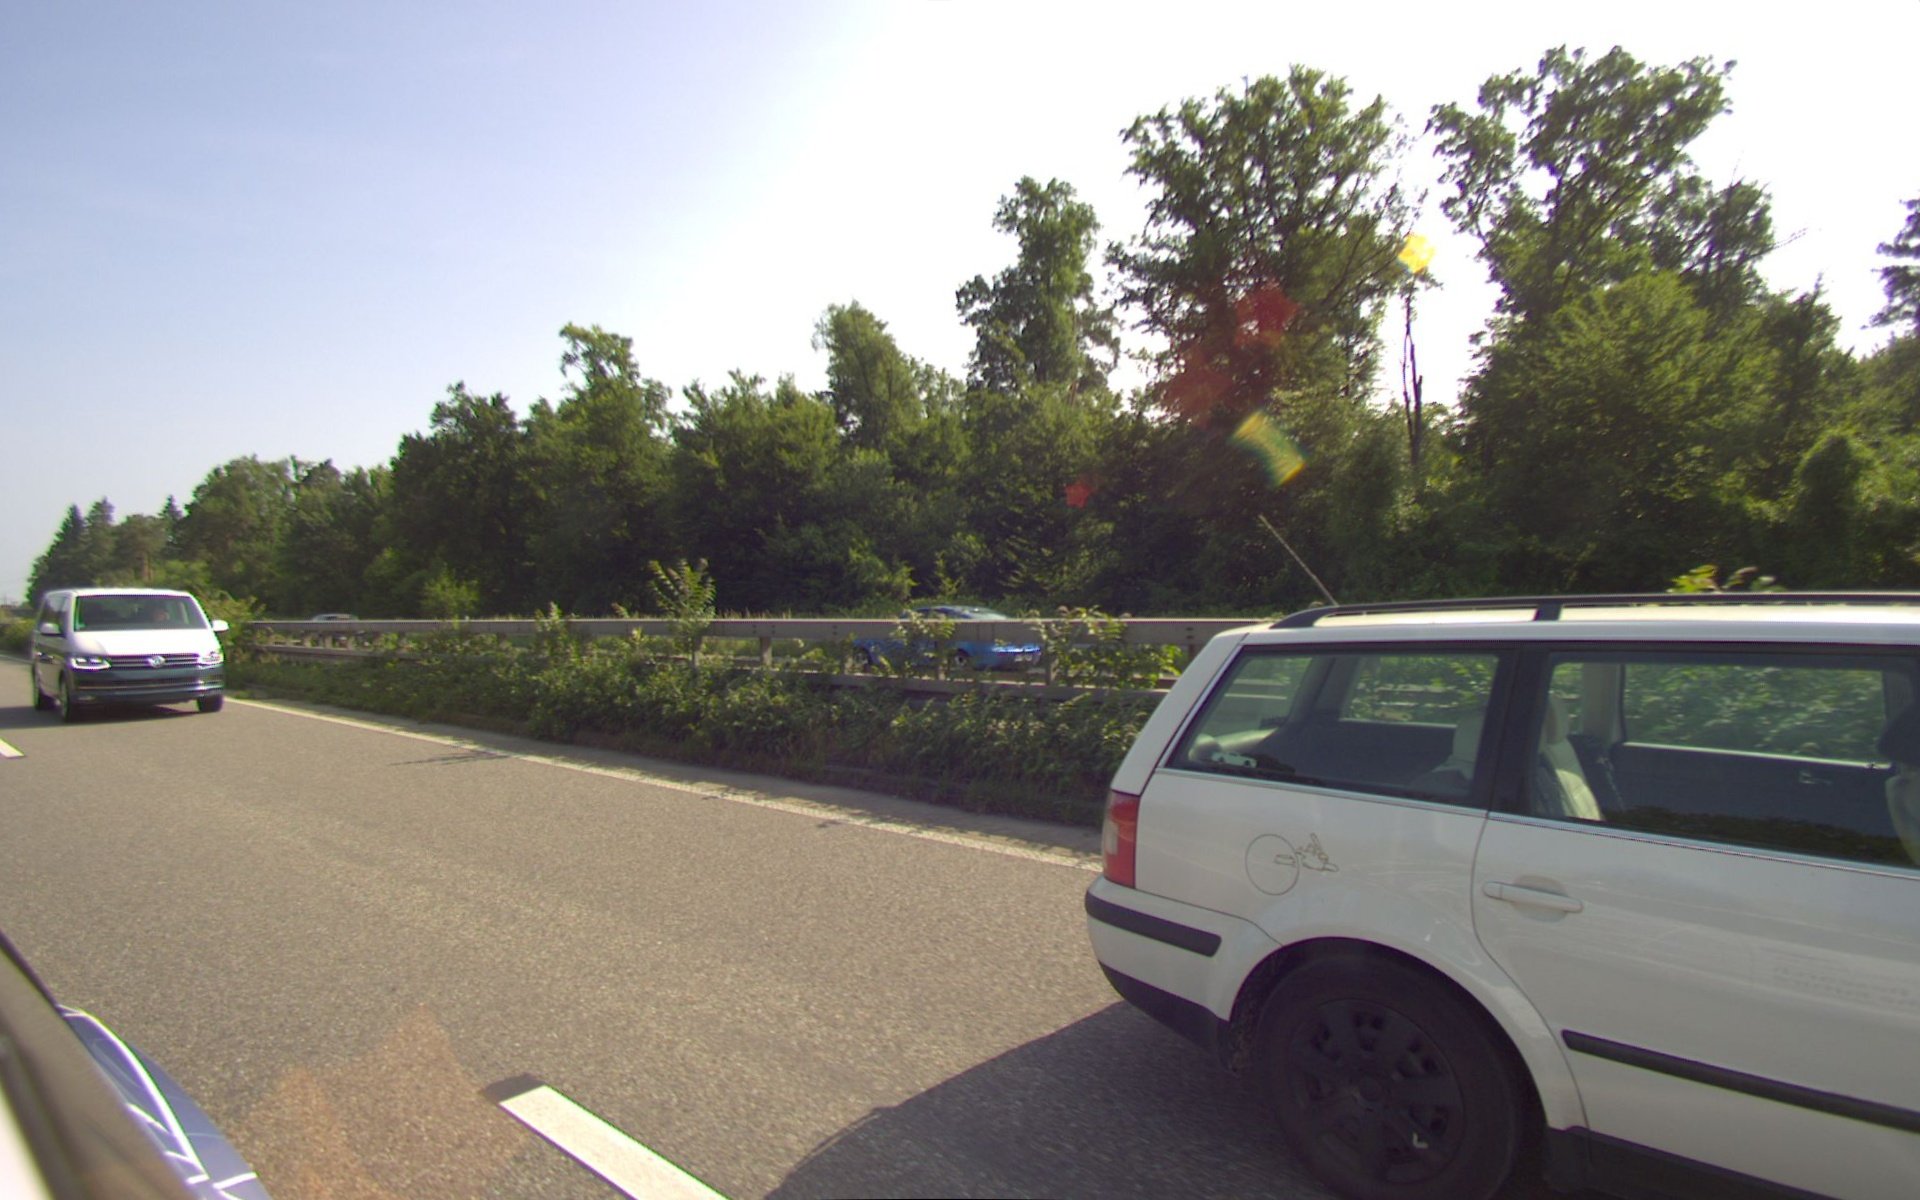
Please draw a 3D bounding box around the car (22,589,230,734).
[{"bbox_3d":[-13.240,0.866,15.954,4.705,1.960,1.887,-1,-1,42],"label":"car"}]

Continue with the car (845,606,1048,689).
[{"bbox_3d":[-0.340,0.861,19.448,3.908,1.440,1.540,-1,-1,42],"label":"car"}]

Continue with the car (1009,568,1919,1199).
[{"bbox_3d":[2.703,0.679,1.949,5.260,1.497,1.732,-1,-1,41],"label":"car"}]
